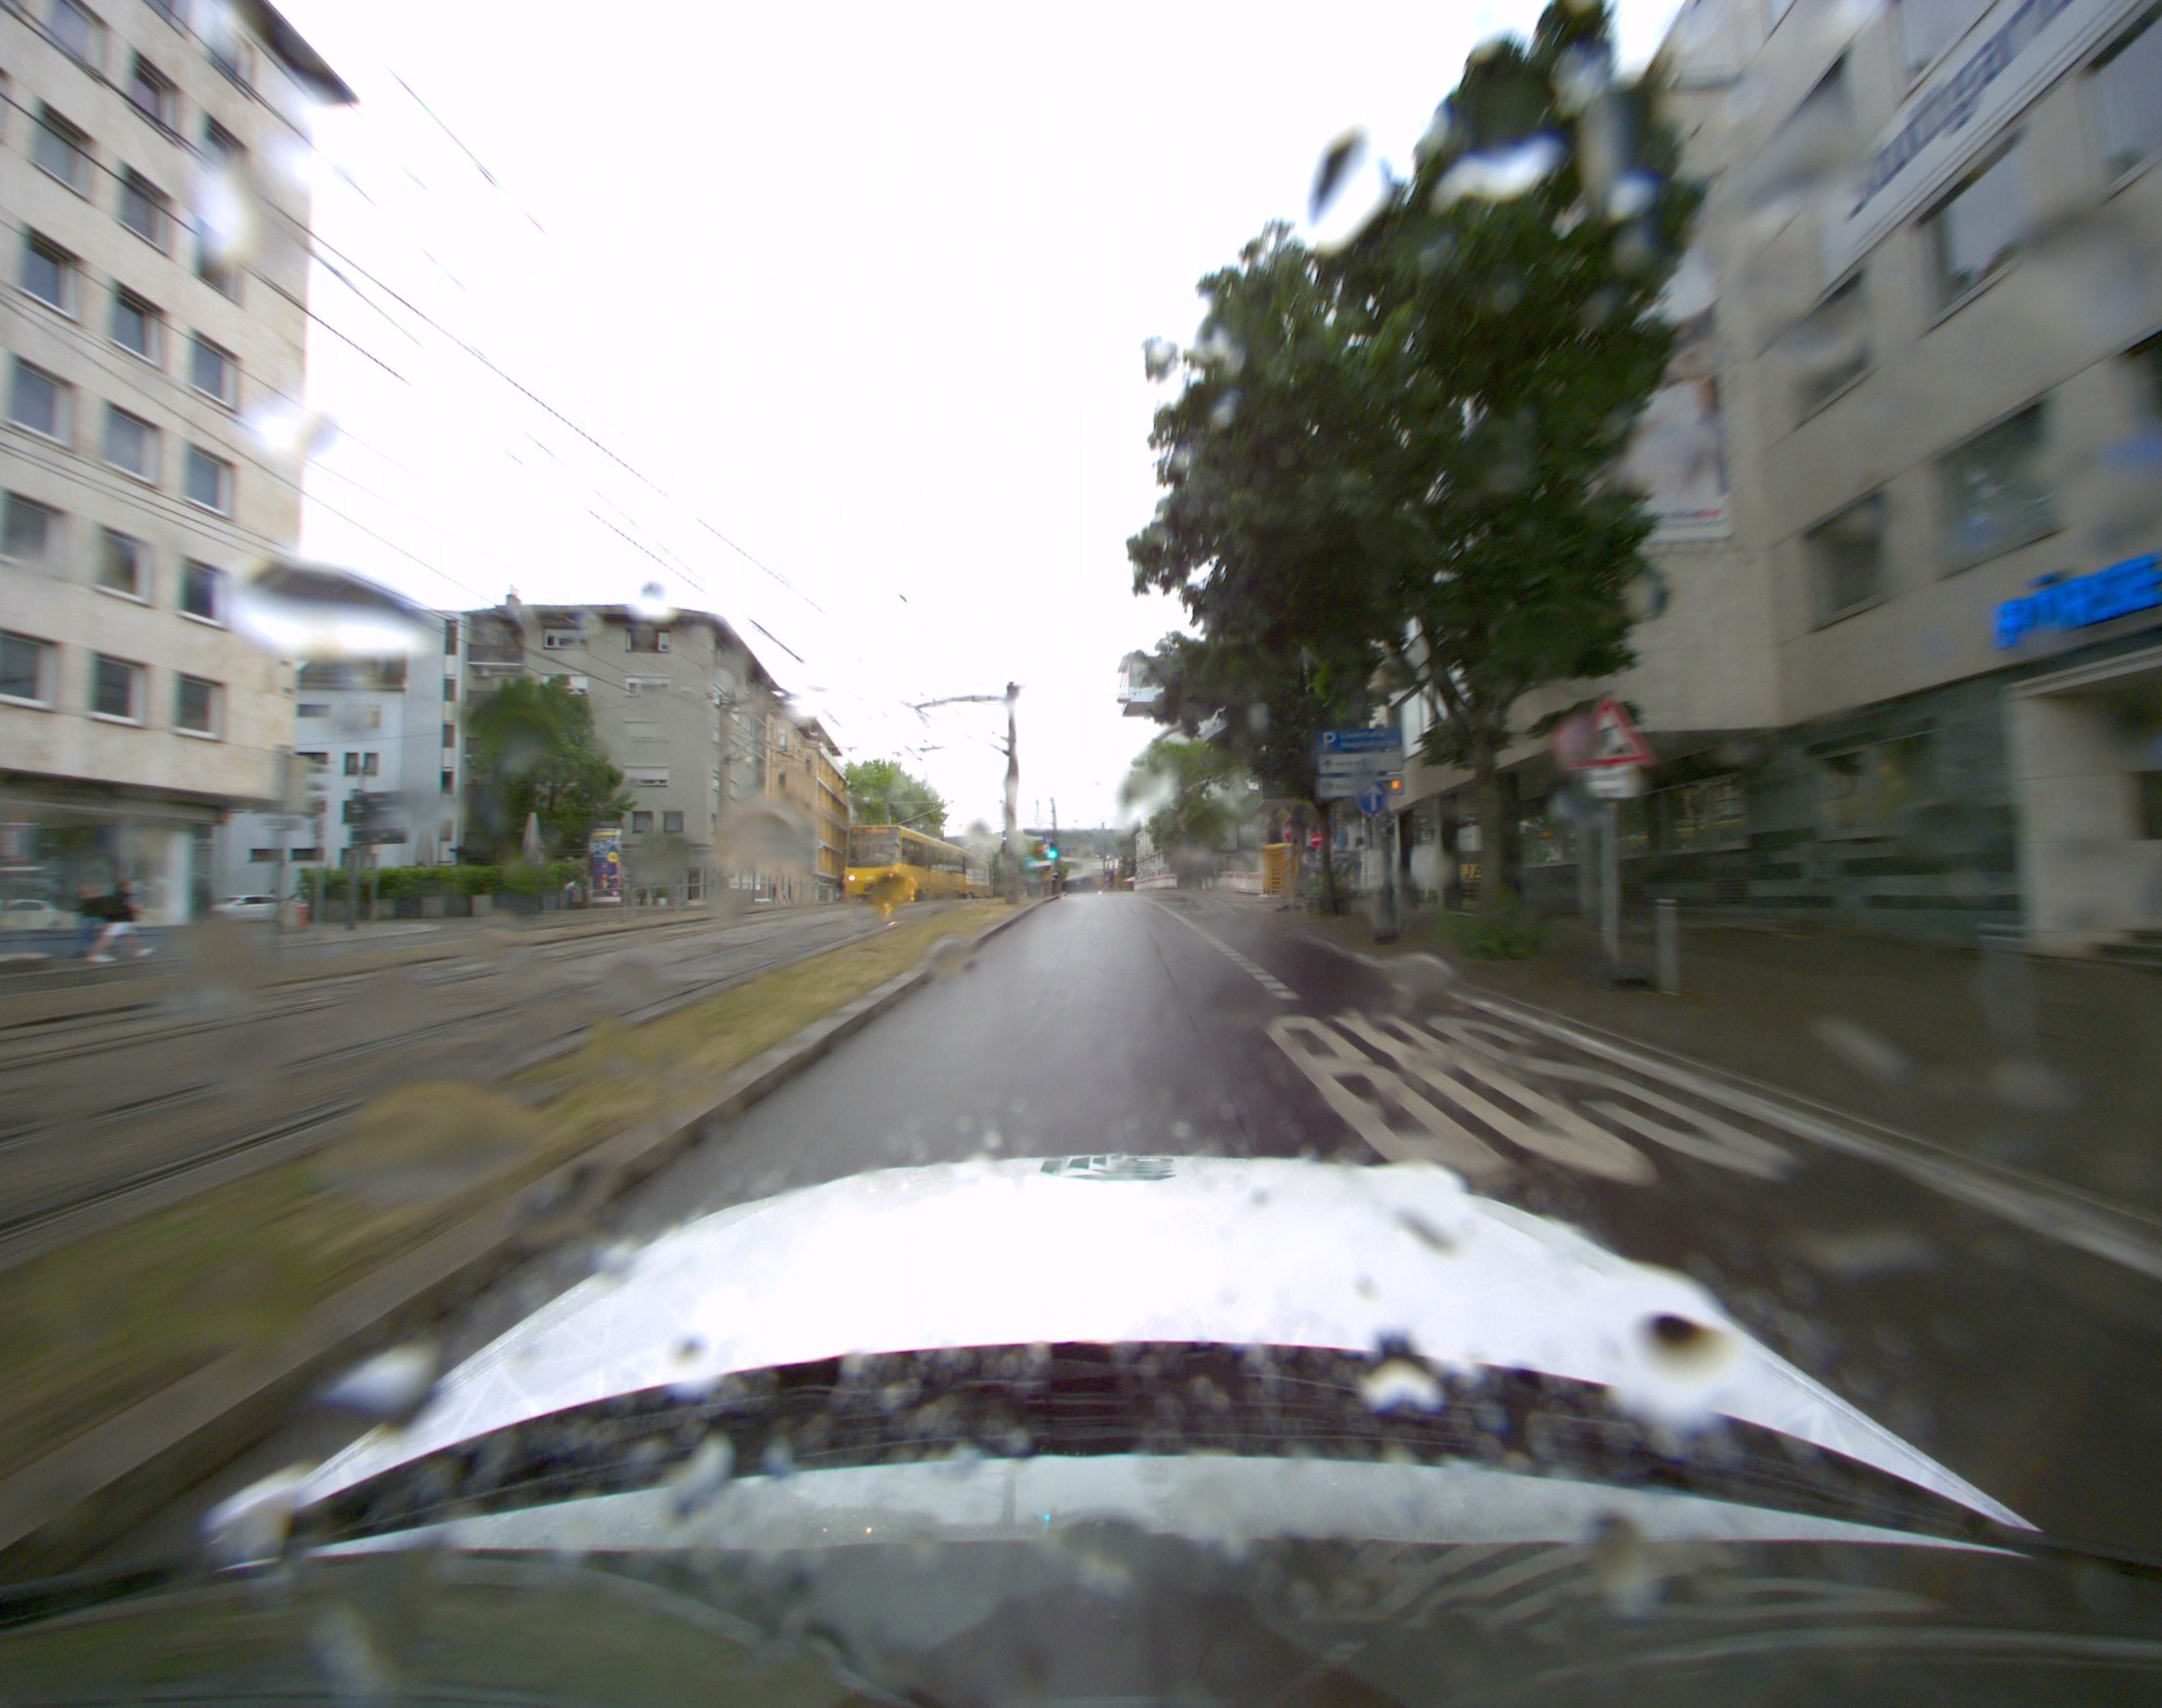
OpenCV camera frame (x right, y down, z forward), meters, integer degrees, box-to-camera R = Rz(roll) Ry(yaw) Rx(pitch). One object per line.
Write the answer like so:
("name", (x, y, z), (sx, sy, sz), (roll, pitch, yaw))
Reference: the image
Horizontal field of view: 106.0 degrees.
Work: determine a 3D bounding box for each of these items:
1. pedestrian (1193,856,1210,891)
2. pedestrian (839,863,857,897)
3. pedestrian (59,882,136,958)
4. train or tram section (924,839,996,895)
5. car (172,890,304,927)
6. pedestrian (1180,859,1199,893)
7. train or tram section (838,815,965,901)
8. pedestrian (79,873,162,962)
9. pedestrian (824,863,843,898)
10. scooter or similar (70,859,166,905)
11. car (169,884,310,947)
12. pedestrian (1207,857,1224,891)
("pedestrian", (6.378, 1.040, 43.294), (0.698, 1.815, 0.976), (-1, -1, -2))
("pedestrian", (-12.390, 1.365, 43.325), (0.730, 1.790, 0.696), (-2, -1, 0))
("pedestrian", (-21.081, 1.396, 17.471), (0.675, 1.548, 0.776), (-2, -1, 0))
("train or tram section", (-9.028, 1.228, 63.524), (2.737, 3.697, 18.963), (-1, -2, 0))
("car", (-40.593, 2.592, 39.372), (1.976, 1.508, 4.008), (-1, -1, 7))
("pedestrian", (5.619, 1.122, 42.262), (0.735, 1.730, 1.118), (-1, -1, -2))
("train or tram section", (-9.079, 0.525, 44.553), (2.737, 3.697, 18.963), (-1, -2, 0))
("pedestrian", (-19.719, 1.276, 16.743), (0.595, 1.738, 0.909), (-2, -1, 0))
("pedestrian", (-13.173, 1.410, 43.379), (0.730, 1.790, 0.696), (-2, -1, 0))
("scooter or similar", (-24.743, 0.703, 20.957), (1.495, 1.146, 0.560), (0, -1, -39))
("car", (-28.466, 1.983, 27.786), (2.006, 1.829, 5.183), (0, -1, -30))
("pedestrian", (7.117, 1.063, 43.140), (0.698, 1.785, 1.066), (-1, -1, -2))
